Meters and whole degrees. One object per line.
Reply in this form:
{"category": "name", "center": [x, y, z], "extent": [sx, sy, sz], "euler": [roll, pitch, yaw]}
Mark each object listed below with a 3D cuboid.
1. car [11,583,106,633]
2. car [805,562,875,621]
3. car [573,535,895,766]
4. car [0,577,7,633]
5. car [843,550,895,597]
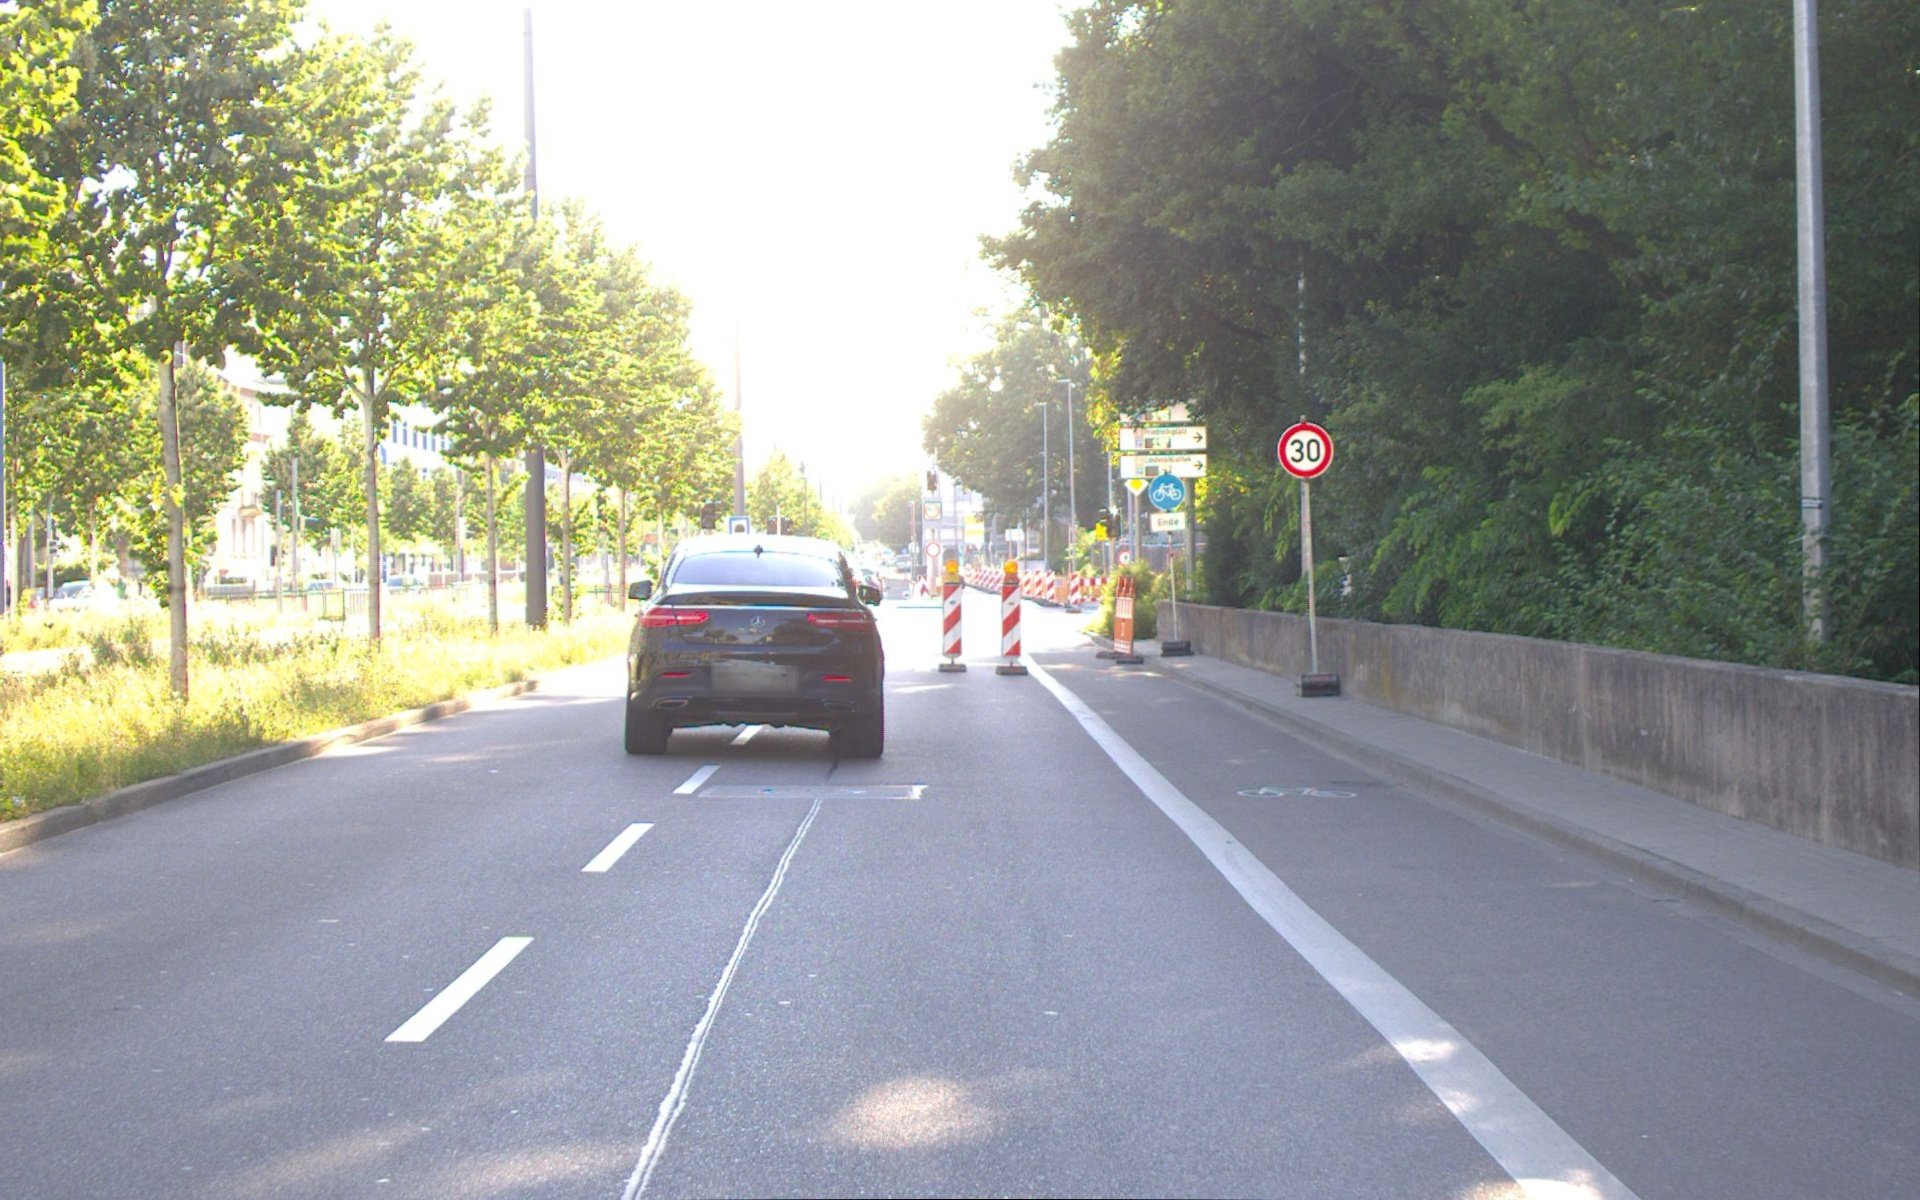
{"category": "car", "center": [-28.304, 0.241, 108.023], "extent": [1.885, 1.509, 4.000], "euler": [0, 1, 1]}
{"category": "car", "center": [-3.340, -0.248, 96.318], "extent": [1.885, 1.575, 4.000], "euler": [0, 1, -1]}
{"category": "car", "center": [-1.909, 0.350, 27.793], "extent": [1.993, 1.728, 4.001], "euler": [0, 1, -13]}
{"category": "car", "center": [-26.597, 0.150, 90.436], "extent": [1.885, 1.509, 4.000], "euler": [0, 1, 1]}
{"category": "car", "center": [-3.212, -0.944, 121.504], "extent": [1.767, 1.598, 3.773], "euler": [-1, 1, -1]}
